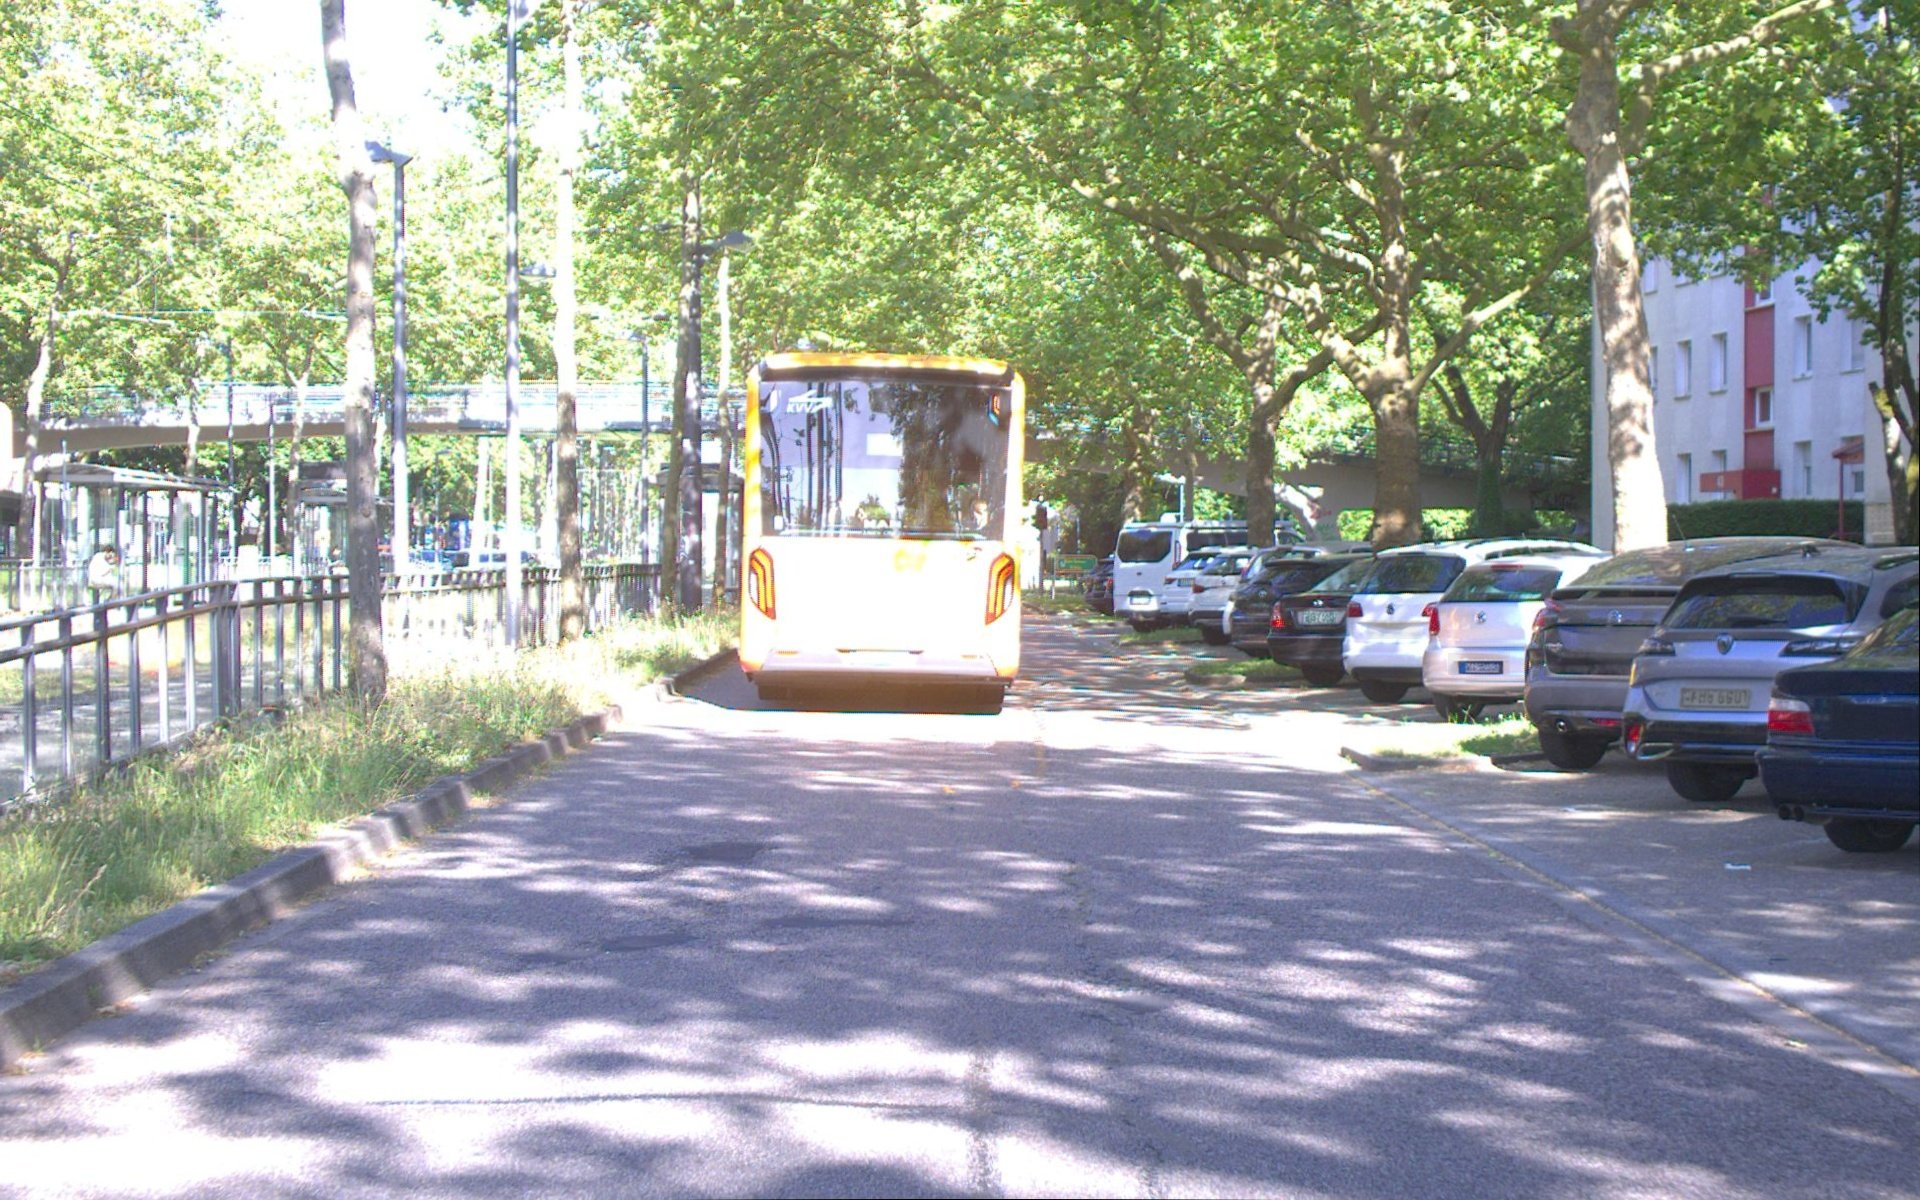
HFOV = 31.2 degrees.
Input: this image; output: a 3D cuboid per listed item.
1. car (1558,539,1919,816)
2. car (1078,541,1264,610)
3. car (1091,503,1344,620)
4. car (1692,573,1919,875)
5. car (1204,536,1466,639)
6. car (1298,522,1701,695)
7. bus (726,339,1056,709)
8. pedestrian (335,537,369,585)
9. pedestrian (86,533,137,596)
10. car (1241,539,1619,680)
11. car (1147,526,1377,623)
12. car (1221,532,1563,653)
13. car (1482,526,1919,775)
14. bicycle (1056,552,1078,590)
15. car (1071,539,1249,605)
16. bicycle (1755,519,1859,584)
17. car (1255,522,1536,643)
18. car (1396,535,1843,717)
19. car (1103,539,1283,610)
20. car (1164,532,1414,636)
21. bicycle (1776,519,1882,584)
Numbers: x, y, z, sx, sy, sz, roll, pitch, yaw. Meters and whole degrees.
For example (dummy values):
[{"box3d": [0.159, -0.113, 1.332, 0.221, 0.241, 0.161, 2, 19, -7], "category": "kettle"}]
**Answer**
[{"box3d": [5.449, 0.381, 20.400, 3.878, 1.441, 1.799, -2, 2, -44], "category": "car"}, {"box3d": [4.973, -0.581, 80.687, 4.244, 1.456, 1.799, -3, 1, -40], "category": "car"}, {"box3d": [4.857, -0.733, 64.468, 4.577, 2.045, 2.017, -3, 1, -40], "category": "car"}, {"box3d": [5.632, 0.516, 16.986, 4.135, 1.313, 1.799, -2, 2, -41], "category": "car"}, {"box3d": [5.716, -0.201, 52.137, 1.831, 1.414, 3.990, -1, 1, 44], "category": "car"}, {"box3d": [5.413, 0.047, 34.243, 3.989, 1.570, 1.799, -2, 2, -41], "category": "car"}, {"box3d": [-0.778, -0.758, 36.601, 2.899, 3.255, 12.219, 0, 1, -2], "category": "bus"}, {"box3d": [-15.959, -1.023, 90.275, 0.778, 1.233, 0.722, 1, 1, -2], "category": "pedestrian"}, {"box3d": [-16.042, -0.668, 64.984, 0.766, 1.179, 0.763, 1, 1, 0], "category": "pedestrian"}, {"box3d": [5.323, 0.069, 38.518, 1.799, 1.418, 4.578, 0, 2, 44], "category": "car"}, {"box3d": [5.424, -0.468, 61.463, 4.047, 1.575, 1.832, -3, 1, -43], "category": "car"}, {"box3d": [5.722, -0.113, 45.247, 4.396, 1.423, 1.951, -3, 1, -40], "category": "car"}, {"box3d": [5.514, 0.275, 23.512, 1.799, 1.505, 4.167, 0, 2, 43], "category": "car"}, {"box3d": [3.522, -0.951, 113.271, 0.590, 1.179, 1.800, -3, 2, -1], "category": "bicycle"}, {"box3d": [4.891, -0.689, 83.852, 4.244, 1.456, 1.799, -3, 1, -41], "category": "car"}, {"box3d": [15.915, -0.909, 64.603, 1.794, 1.125, 0.500, -3, 1, -5], "category": "bicycle"}, {"box3d": [6.241, -0.258, 49.011, 3.989, 1.584, 1.799, -3, 1, -43], "category": "car"}, {"box3d": [5.858, 0.188, 30.301, 3.989, 1.439, 1.799, -2, 2, -42], "category": "car"}, {"box3d": [5.276, -0.583, 77.687, 3.989, 1.463, 1.782, -3, 1, -43], "category": "car"}, {"box3d": [5.319, -0.272, 55.188, 1.798, 1.505, 4.202, -1, 1, 42], "category": "car"}, {"box3d": [16.020, -0.895, 63.396, 1.794, 1.125, 0.500, -3, 1, -5], "category": "bicycle"}]
